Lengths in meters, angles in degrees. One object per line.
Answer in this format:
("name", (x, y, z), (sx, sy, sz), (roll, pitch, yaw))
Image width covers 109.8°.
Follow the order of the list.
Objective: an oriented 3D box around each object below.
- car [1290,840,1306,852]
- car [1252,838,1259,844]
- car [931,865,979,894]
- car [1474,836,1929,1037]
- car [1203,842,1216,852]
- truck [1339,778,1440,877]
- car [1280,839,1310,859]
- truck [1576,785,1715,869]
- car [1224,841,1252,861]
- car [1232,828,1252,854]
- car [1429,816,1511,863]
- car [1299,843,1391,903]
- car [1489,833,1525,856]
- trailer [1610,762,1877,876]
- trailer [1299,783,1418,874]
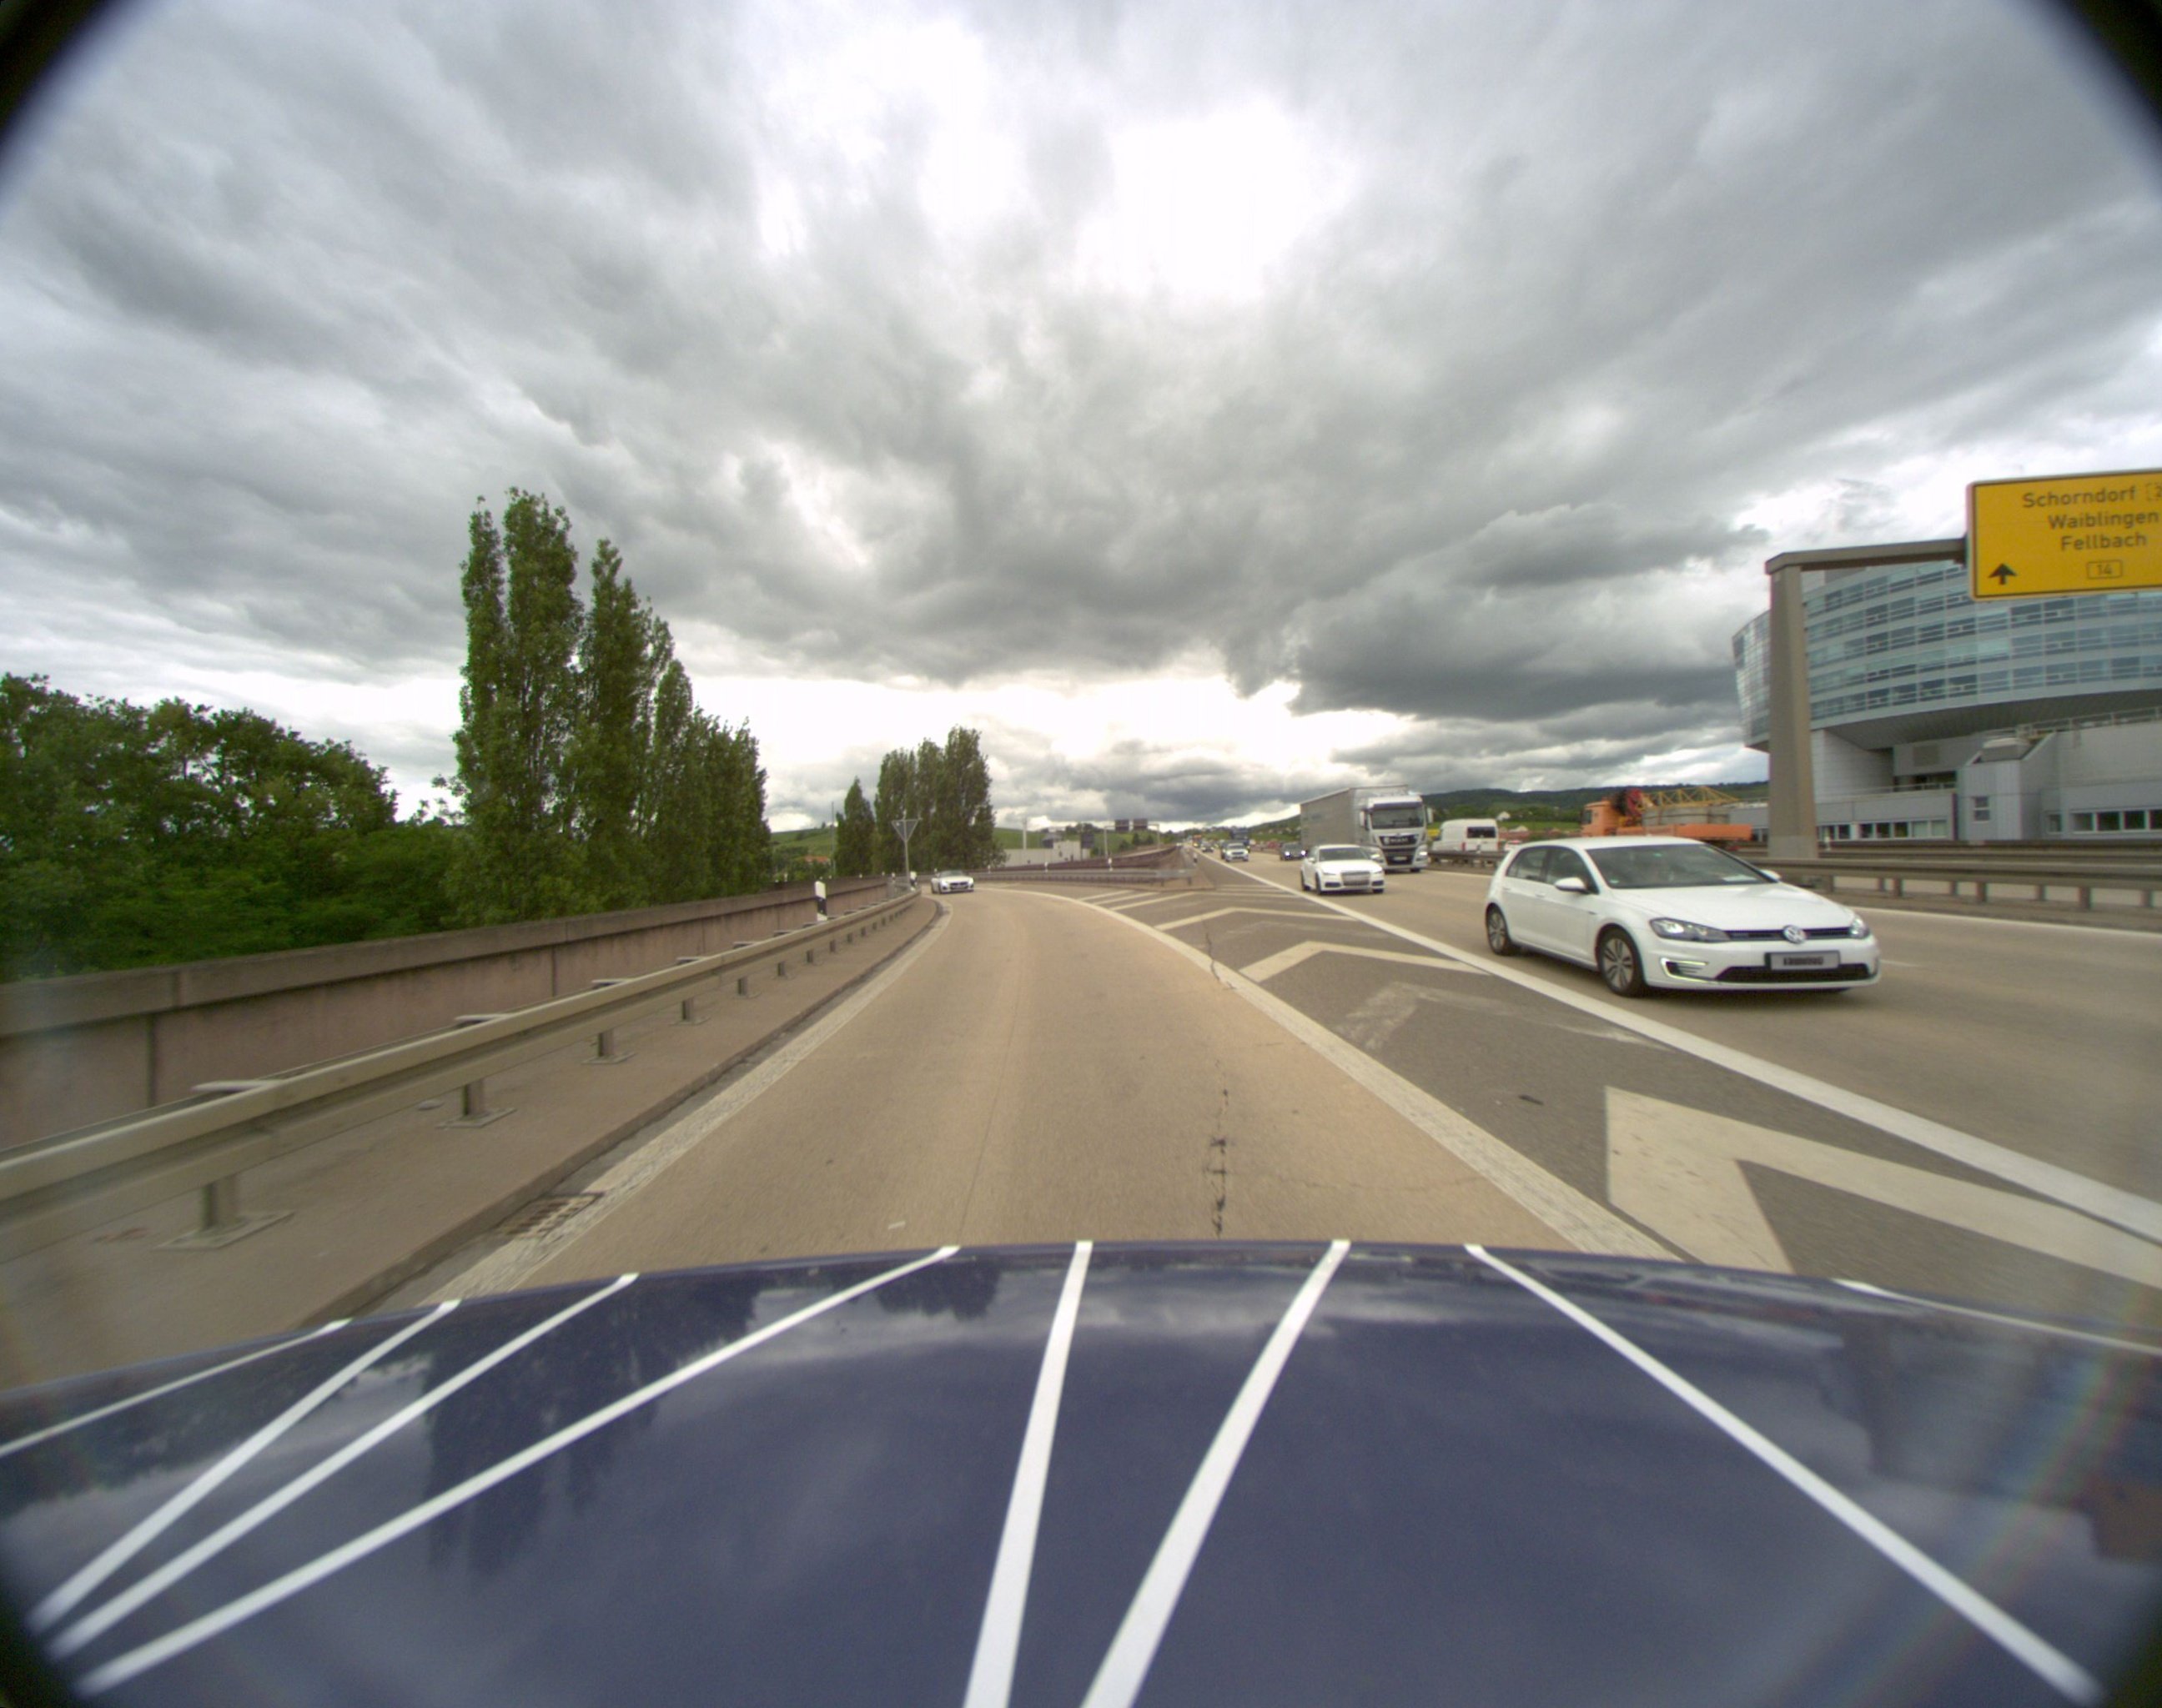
("car", (29.817, -1.136, 104.388), (1.648, 1.582, 3.688), (0, 0, 8))
("car", (48.836, -3.755, 212.553), (1.686, 1.509, 3.652), (-4, 0, 8))
("car", (-7.216, 1.410, 43.133), (1.865, 1.337, 4.817), (-5, 1, -19))
("car", (5.742, 0.633, 7.790), (1.712, 1.488, 4.002), (-3, 0, 7))
("car", (22.972, -1.302, 135.544), (1.997, 1.672, 4.004), (-3, 0, 13))
("truck", (13.631, -1.131, 33.977), (2.862, 3.988, 4.793), (-3, 1, 7))
("car", (17.821, -0.395, 63.375), (1.786, 1.509, 4.002), (-4, 0, 8))
("truck", (24.989, -1.123, 33.958), (2.747, 3.460, 5.108), (0, 0, 6))
("car", (14.094, -0.266, 68.456), (1.997, 1.672, 4.002), (-3, 0, 6))
("car", (24.104, -1.848, 113.614), (2.362, 3.639, 4.802), (-4, 0, 8))
("car", (23.981, -0.869, 47.168), (2.583, 2.628, 6.194), (-1, 0, 8))
("car", (7.661, 0.497, 22.418), (1.786, 1.509, 4.002), (-3, 0, 8))
("car", (43.369, -1.026, 77.419), (1.997, 2.002, 4.003), (-7, 0, 14))
("trailer", (24.466, -1.138, 29.026), (2.740, 3.615, 9.360), (0, 0, 6))
("trailer", (14.507, -1.277, 41.243), (2.862, 3.988, 13.978), (-3, 1, 7))
